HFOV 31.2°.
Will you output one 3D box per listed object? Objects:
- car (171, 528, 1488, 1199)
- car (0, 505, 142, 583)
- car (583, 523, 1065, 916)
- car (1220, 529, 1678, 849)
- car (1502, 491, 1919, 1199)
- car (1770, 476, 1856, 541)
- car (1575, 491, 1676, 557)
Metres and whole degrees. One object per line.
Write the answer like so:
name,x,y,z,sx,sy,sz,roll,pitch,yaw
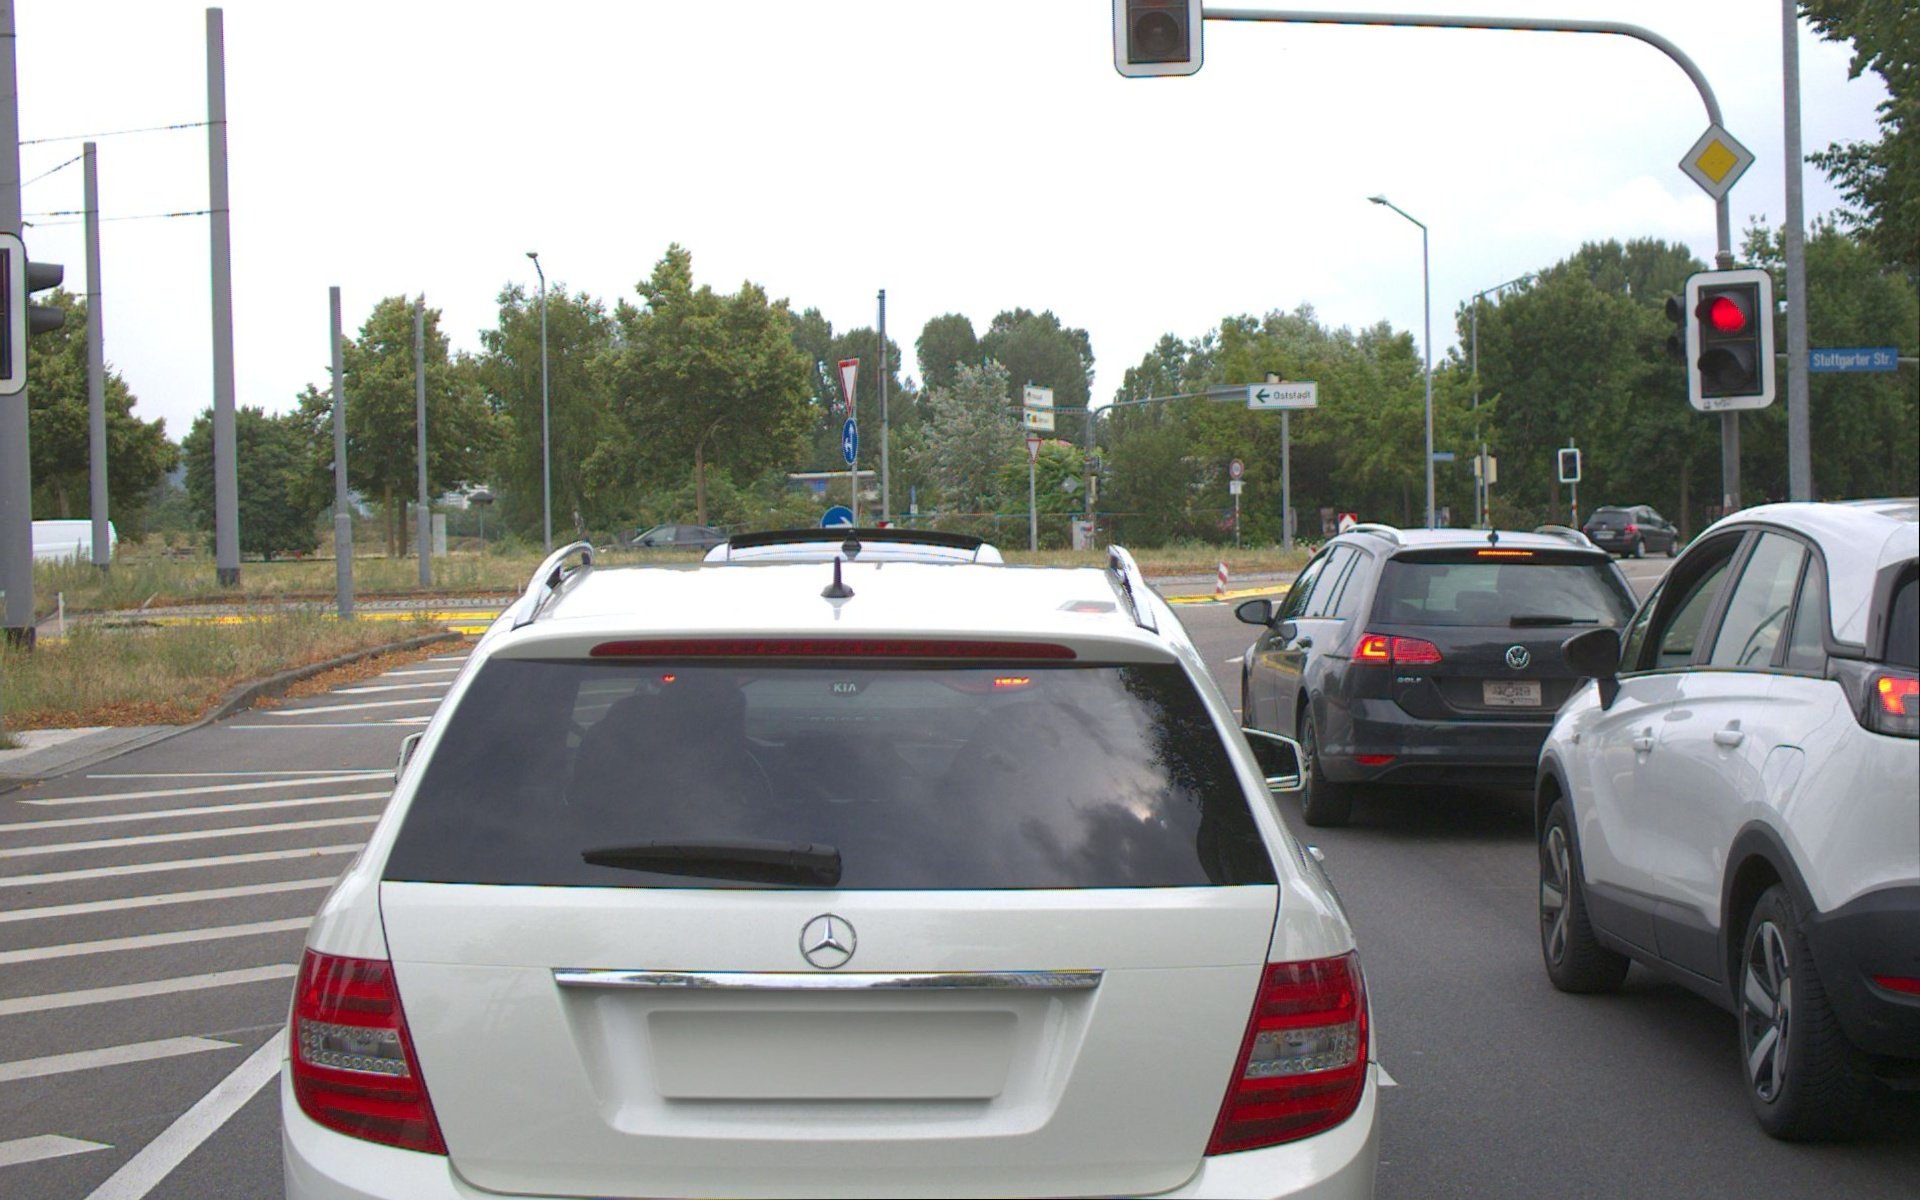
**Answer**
car,-0.258,0.597,6.606,1.773,1.443,3.911,0,1,-2
car,-24.877,-1.516,92.953,4.983,2.006,2.000,-2,2,-29
car,-0.587,0.401,14.677,1.773,1.443,3.911,0,1,-2
car,2.386,0.369,17.669,1.624,1.443,3.911,0,1,-2
car,2.748,0.508,9.635,1.787,1.619,3.911,-1,1,0
car,22.212,-2.400,89.628,1.784,1.630,4.400,-1,2,9
car,19.170,-2.178,98.866,1.996,1.784,3.995,2,1,23
